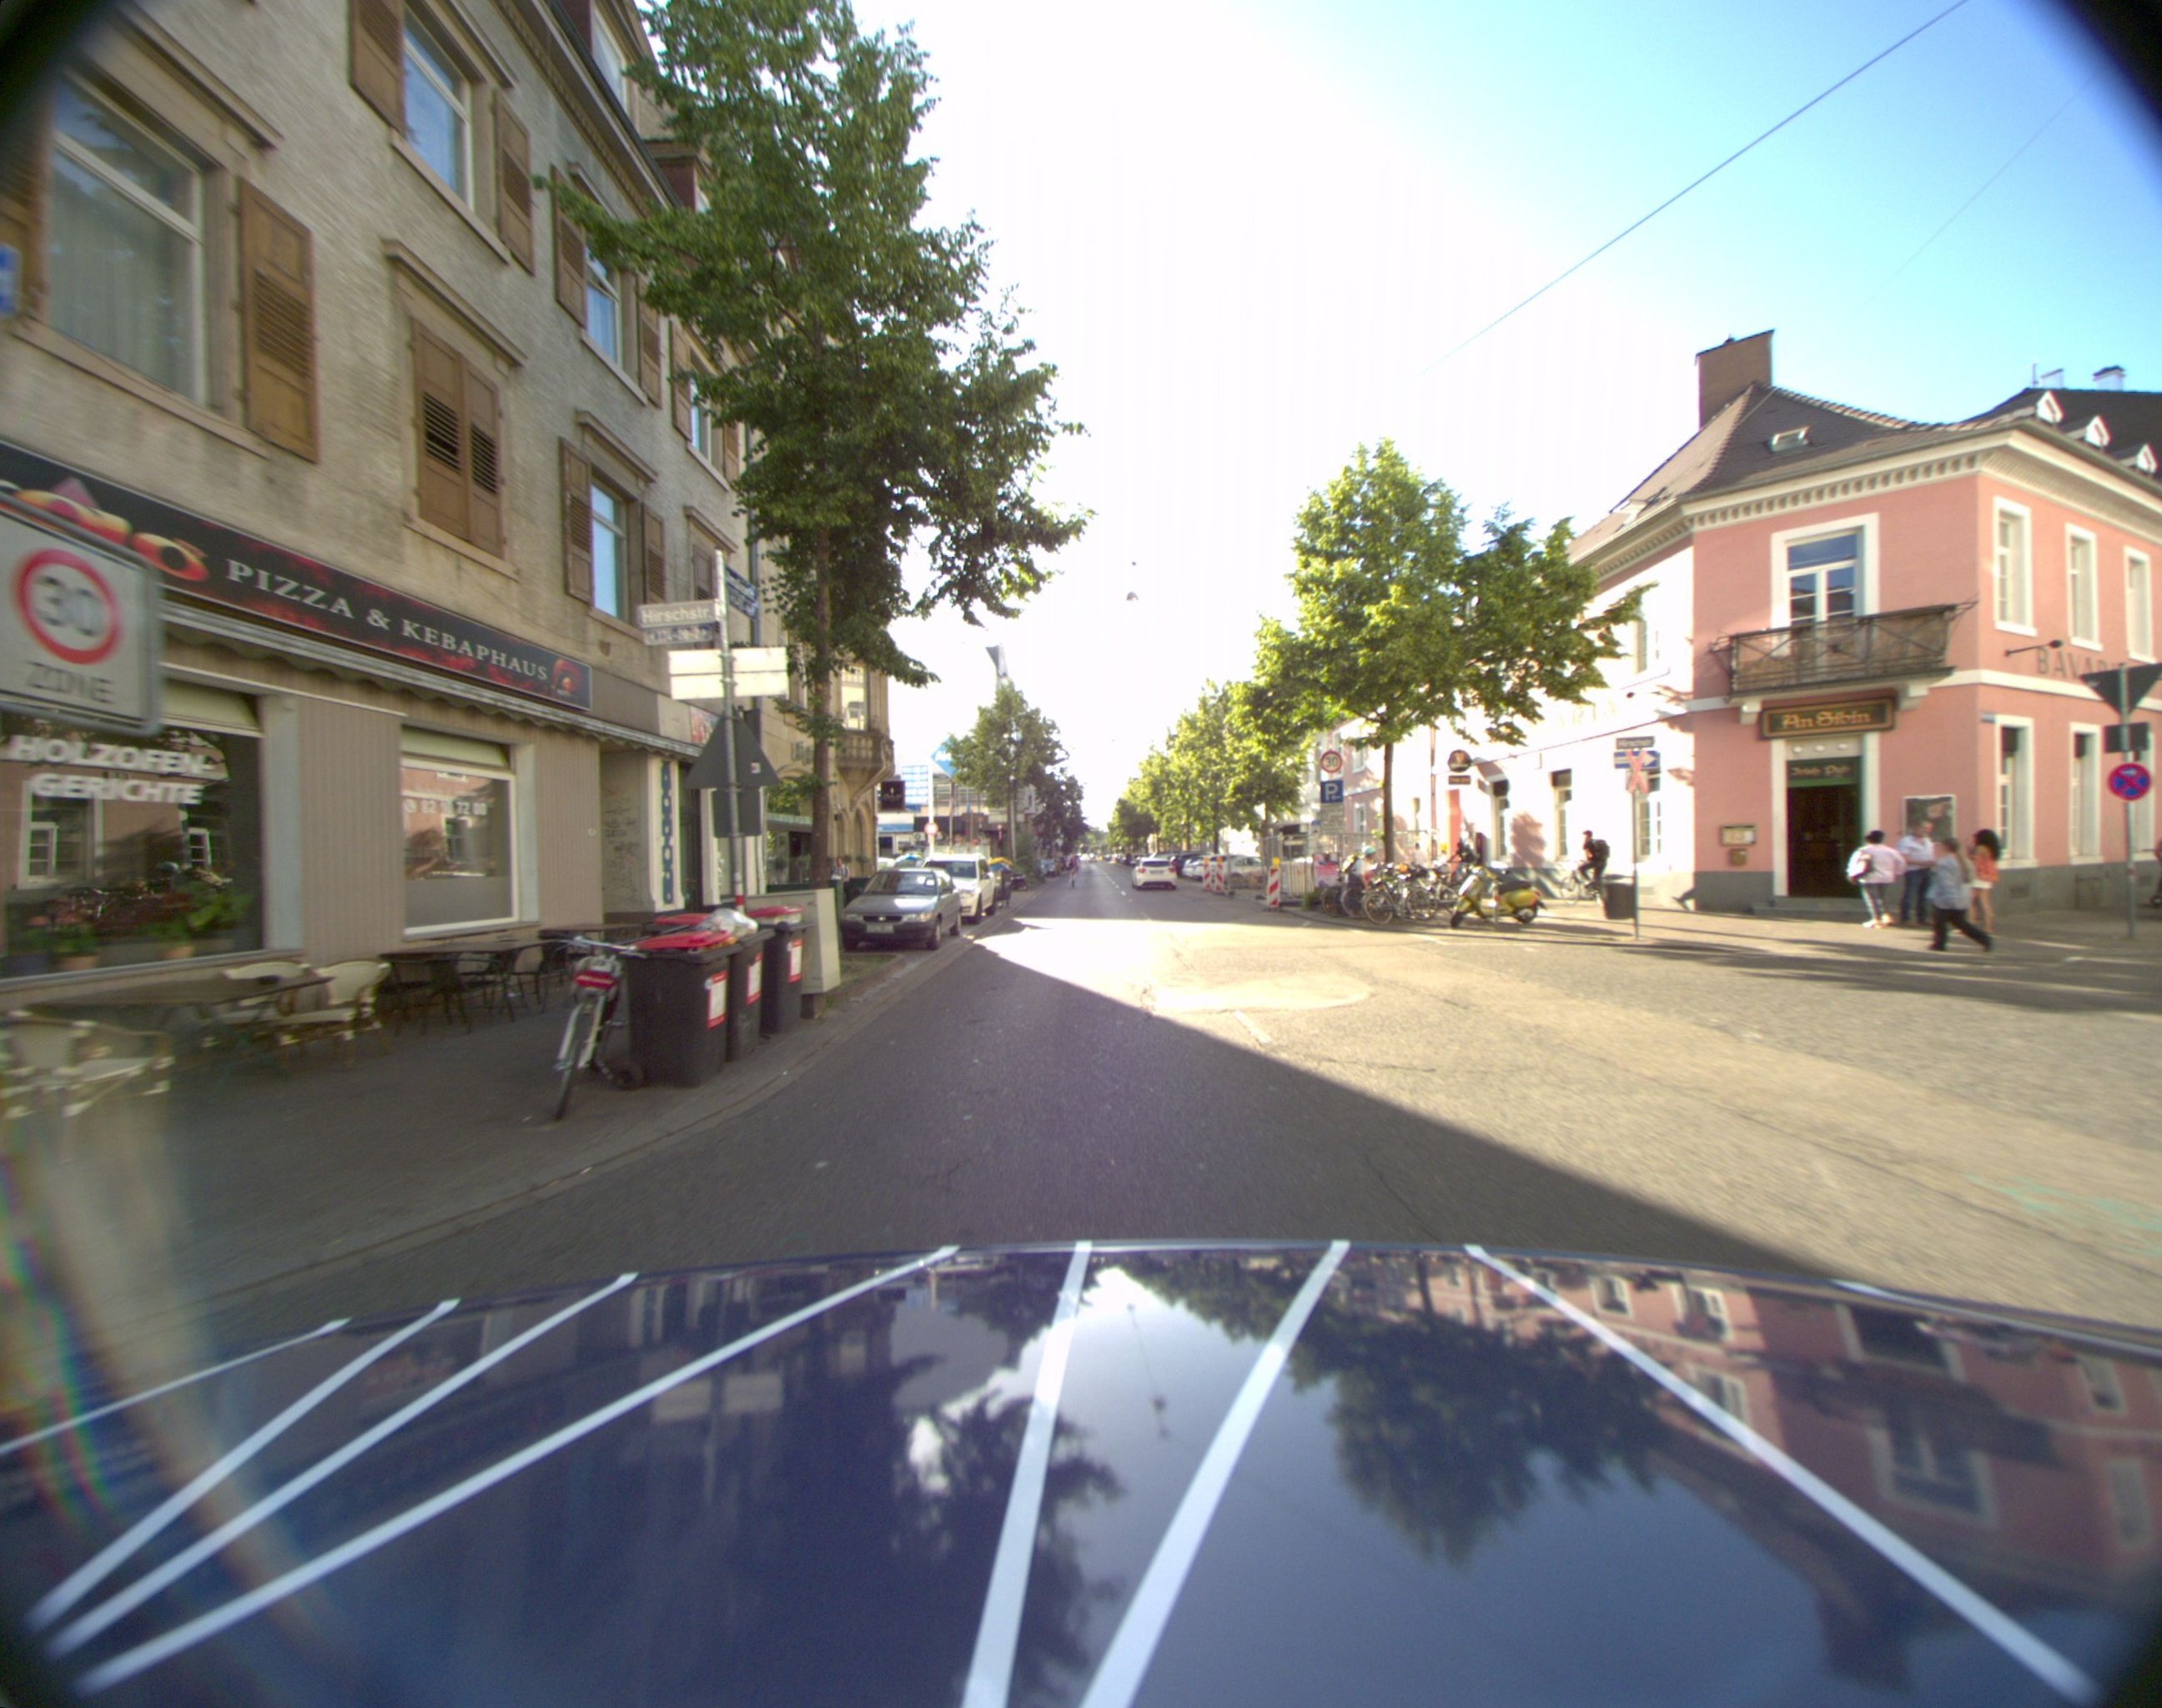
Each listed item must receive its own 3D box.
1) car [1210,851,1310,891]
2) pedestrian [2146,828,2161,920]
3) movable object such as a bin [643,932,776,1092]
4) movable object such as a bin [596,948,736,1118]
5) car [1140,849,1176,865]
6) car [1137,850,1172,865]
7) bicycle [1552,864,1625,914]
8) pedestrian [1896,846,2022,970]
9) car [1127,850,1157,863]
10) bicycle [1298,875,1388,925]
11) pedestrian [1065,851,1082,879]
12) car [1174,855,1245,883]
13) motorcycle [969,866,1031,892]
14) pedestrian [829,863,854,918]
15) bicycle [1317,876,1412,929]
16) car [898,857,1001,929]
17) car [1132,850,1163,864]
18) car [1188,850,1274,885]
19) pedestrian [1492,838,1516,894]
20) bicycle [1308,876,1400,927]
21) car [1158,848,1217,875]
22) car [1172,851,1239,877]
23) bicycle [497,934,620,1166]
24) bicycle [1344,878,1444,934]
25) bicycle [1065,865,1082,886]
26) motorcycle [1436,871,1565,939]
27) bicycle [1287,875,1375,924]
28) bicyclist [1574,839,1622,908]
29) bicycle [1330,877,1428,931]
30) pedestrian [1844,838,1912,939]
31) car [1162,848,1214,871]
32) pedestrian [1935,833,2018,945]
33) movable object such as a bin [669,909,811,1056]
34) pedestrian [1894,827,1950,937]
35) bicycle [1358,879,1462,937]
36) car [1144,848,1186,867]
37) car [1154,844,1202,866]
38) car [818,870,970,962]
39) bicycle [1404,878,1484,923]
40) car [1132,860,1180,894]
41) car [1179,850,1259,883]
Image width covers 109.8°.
[{"bbox_3d":[8.216,0.746,35.206,4.134,1.670,2.000,-2,0,0],"label":"car"},{"bbox_3d":[20.879,0.369,14.377,0.635,1.740,0.706,-1,0,-22],"label":"pedestrian"},{"bbox_3d":[-2.934,1.228,6.053,0.721,1.149,0.602,-1,0,3],"label":"movable object such as a bin"},{"bbox_3d":[-2.938,1.250,5.434,0.634,1.062,0.602,0,2,2],"label":"movable object such as a bin"},{"bbox_3d":[9.273,0.375,91.727,4.134,1.792,1.911,-2,0,0],"label":"car"},{"bbox_3d":[9.171,0.409,94.708,4.134,1.792,1.911,-2,0,0],"label":"car"},{"bbox_3d":[11.684,0.791,17.562,0.570,1.081,1.652,-1,-1,0],"label":"bicycle"},{"bbox_3d":[11.910,0.708,10.334,0.650,1.592,0.863,-3,0,1],"label":"pedestrian"},{"bbox_3d":[8.925,0.336,111.148,4.134,1.792,1.911,-2,0,0],"label":"car"},{"bbox_3d":[6.153,1.071,17.858,2.006,1.023,0.473,-3,1,-12],"label":"bicycle"},{"bbox_3d":[-0.383,0.563,38.797,0.804,1.381,0.931,-3,0,0],"label":"pedestrian"},{"bbox_3d":[8.084,0.955,48.217,4.134,1.584,1.911,-2,0,0],"label":"car"},{"bbox_3d":[-3.640,1.123,34.109,2.656,1.071,0.962,-1,0,-14],"label":"motorcycle"},{"bbox_3d":[-6.485,0.980,20.574,0.460,1.434,0.521,-2,1,-1],"label":"pedestrian"},{"bbox_3d":[6.335,1.070,16.957,2.006,1.023,0.473,-3,1,-12],"label":"bicycle"},{"bbox_3d":[-3.226,0.901,19.419,1.835,1.641,4.159,0,0,1],"label":"car"},{"bbox_3d":[9.224,0.412,105.788,4.134,1.792,1.911,-2,0,0],"label":"car"},{"bbox_3d":[7.979,0.694,40.707,4.134,1.670,2.000,-2,0,0],"label":"car"},{"bbox_3d":[13.123,0.378,23.586,0.517,1.716,0.525,-1,0,18],"label":"pedestrian"},{"bbox_3d":[6.241,1.066,17.380,2.006,1.023,0.473,-3,1,-12],"label":"bicycle"},{"bbox_3d":[7.884,0.558,56.500,4.134,1.792,1.911,-2,0,0],"label":"car"},{"bbox_3d":[8.362,0.674,51.346,4.134,1.584,1.911,-2,0,0],"label":"car"},{"bbox_3d":[-3.494,1.209,5.176,0.378,1.139,1.670,0,1,-24],"label":"bicycle"},{"bbox_3d":[6.586,1.072,15.984,2.006,1.023,0.473,-3,1,-12],"label":"bicycle"},{"bbox_3d":[-0.361,1.087,38.830,0.805,0.958,1.996,-3,0,0],"label":"bicycle"},{"bbox_3d":[7.984,0.958,14.539,2.003,1.178,0.740,-2,0,3],"label":"motorcycle"},{"bbox_3d":[6.035,1.088,18.349,2.006,1.023,0.473,-3,1,-12],"label":"bicycle"},{"bbox_3d":[11.672,0.428,17.166,0.570,1.495,0.751,-1,2,0],"label":"bicyclist"},{"bbox_3d":[6.452,1.073,16.467,2.006,1.023,0.473,-3,1,-12],"label":"bicycle"},{"bbox_3d":[13.453,0.564,12.830,0.581,1.653,0.705,-2,0,-37],"label":"pedestrian"},{"bbox_3d":[9.015,0.464,64.331,4.134,1.792,1.911,-2,0,0],"label":"car"},{"bbox_3d":[14.149,0.540,12.017,0.630,1.716,0.580,-1,0,-2],"label":"pedestrian"},{"bbox_3d":[-3.043,1.127,6.854,0.944,1.207,0.699,0,1,1],"label":"movable object such as a bin"},{"bbox_3d":[14.228,0.458,12.847,0.632,1.801,0.578,-2,0,-39],"label":"pedestrian"},{"bbox_3d":[6.687,1.075,15.456,2.006,1.023,0.473,-3,1,-12],"label":"bicycle"},{"bbox_3d":[8.629,0.332,78.419,4.134,1.792,1.911,-2,0,0],"label":"car"},{"bbox_3d":[8.867,0.080,69.971,4.134,1.792,1.911,-2,0,0],"label":"car"},{"bbox_3d":[-3.310,1.036,14.290,1.835,1.410,4.159,0,0,0],"label":"car"},{"bbox_3d":[7.952,1.016,16.675,1.513,0.945,0.360,-3,1,41],"label":"bicycle"},{"bbox_3d":[3.358,1.000,34.618,1.835,1.410,3.833,-1,0,1],"label":"car"},{"bbox_3d":[7.764,0.692,43.141,4.134,1.670,2.000,-2,0,0],"label":"car"}]
